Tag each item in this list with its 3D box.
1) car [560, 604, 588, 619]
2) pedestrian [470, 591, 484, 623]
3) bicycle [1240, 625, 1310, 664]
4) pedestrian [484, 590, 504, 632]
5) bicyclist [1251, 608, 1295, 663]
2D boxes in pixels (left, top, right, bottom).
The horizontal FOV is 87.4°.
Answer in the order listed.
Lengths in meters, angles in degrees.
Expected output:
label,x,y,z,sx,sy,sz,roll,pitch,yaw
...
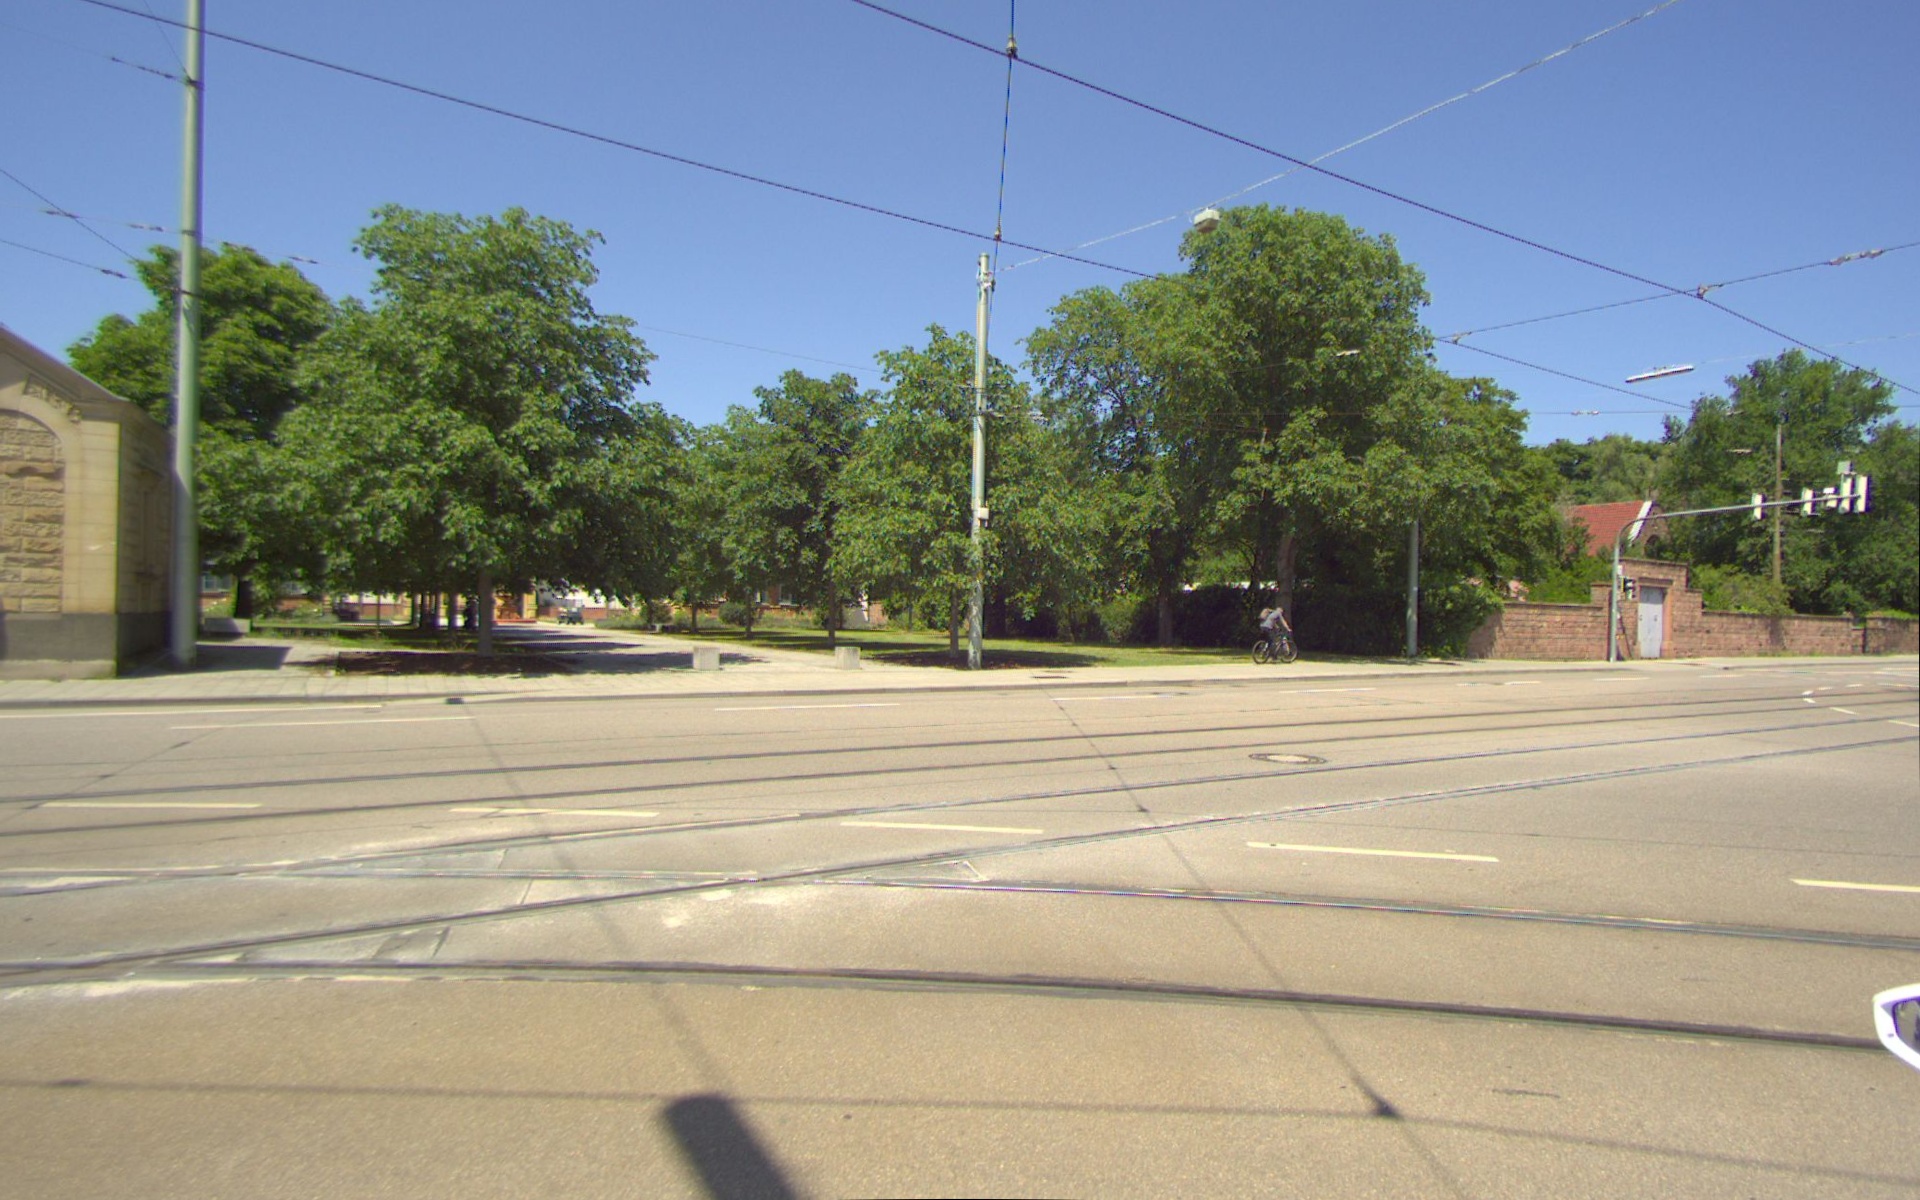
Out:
label,x,y,z,sx,sy,sz,roll,pitch,yaw
car,-26.535,0.787,69.031,1.316,0.964,2.713,2,0,-31
pedestrian,-22.990,0.350,47.798,0.526,1.503,0.523,1,0,-32
bicycle,9.148,1.288,29.166,2.079,1.055,0.711,2,0,-31
pedestrian,-18.911,0.437,40.755,0.704,1.669,0.524,1,0,-31
bicyclist,9.077,1.021,29.117,0.835,1.551,0.846,1,0,-30
